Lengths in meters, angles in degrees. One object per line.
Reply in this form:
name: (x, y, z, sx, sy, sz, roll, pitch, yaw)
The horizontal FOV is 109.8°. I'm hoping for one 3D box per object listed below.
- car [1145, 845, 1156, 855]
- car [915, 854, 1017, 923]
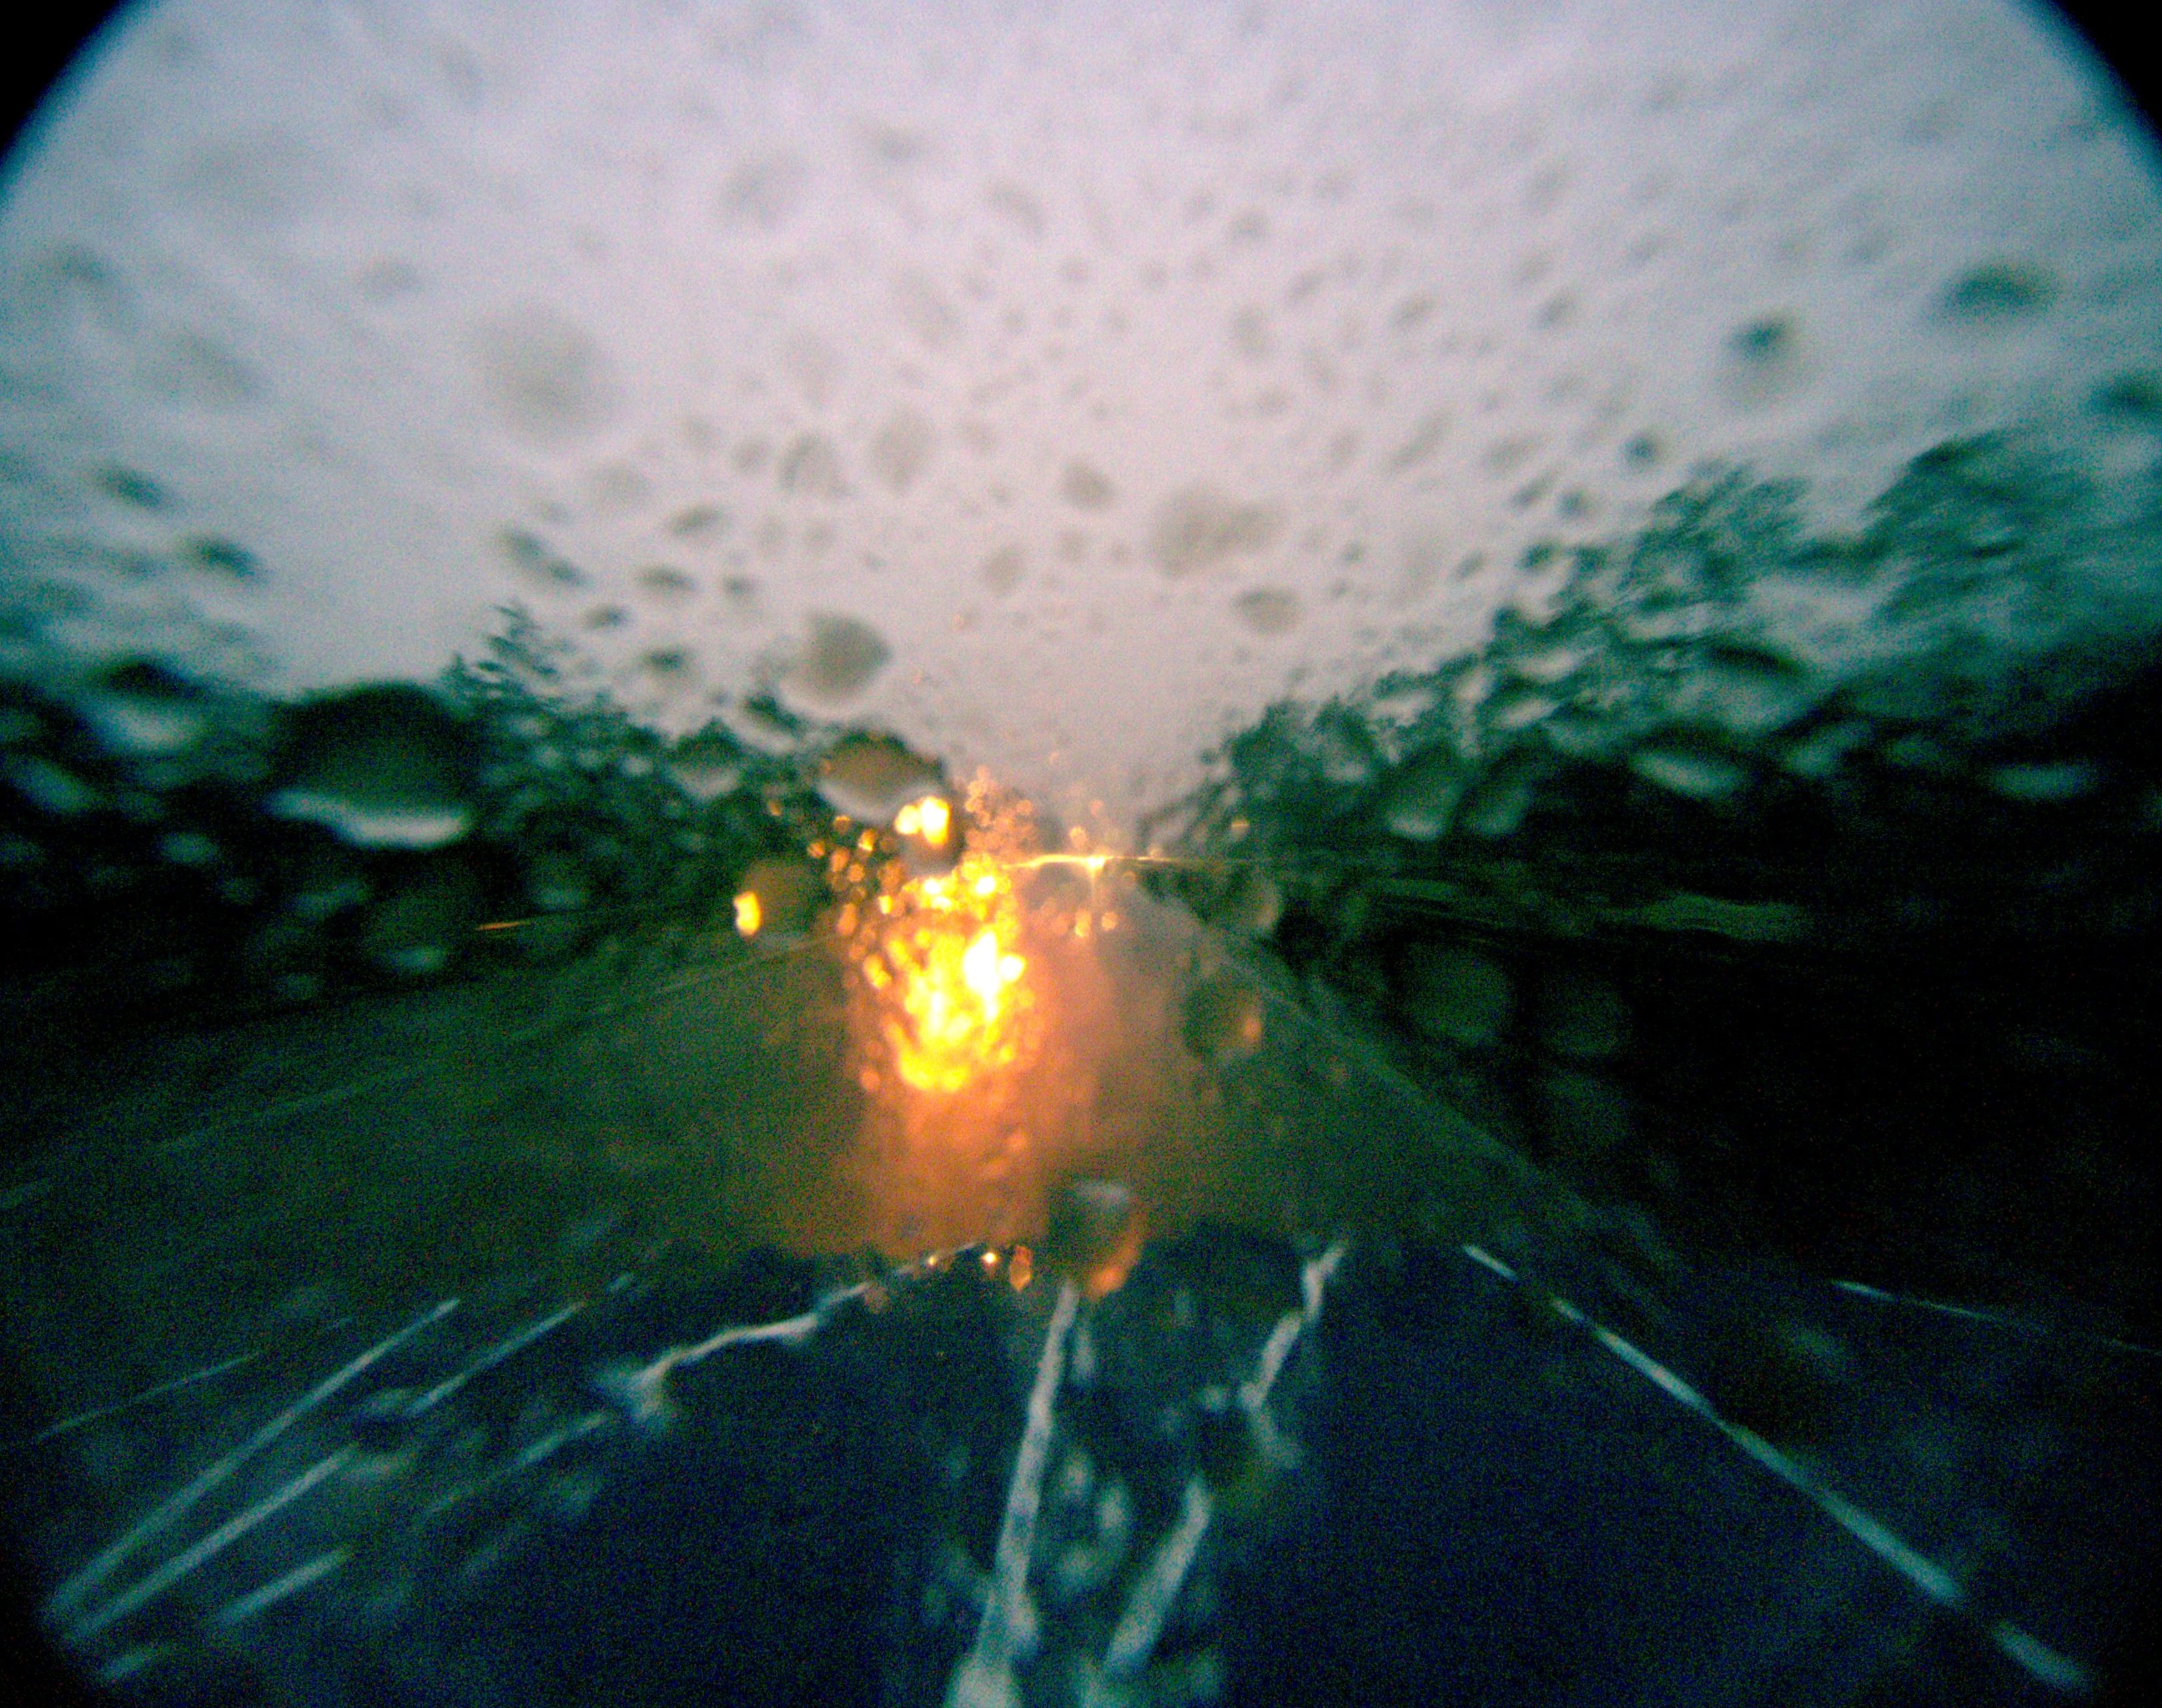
car: (15.450, -0.845, 169.398, 1.999, 2.002, 4.784, -2, 0, 0)
car: (-3.119, 0.872, 21.573, 2.075, 1.688, 4.461, -2, 0, 1)
